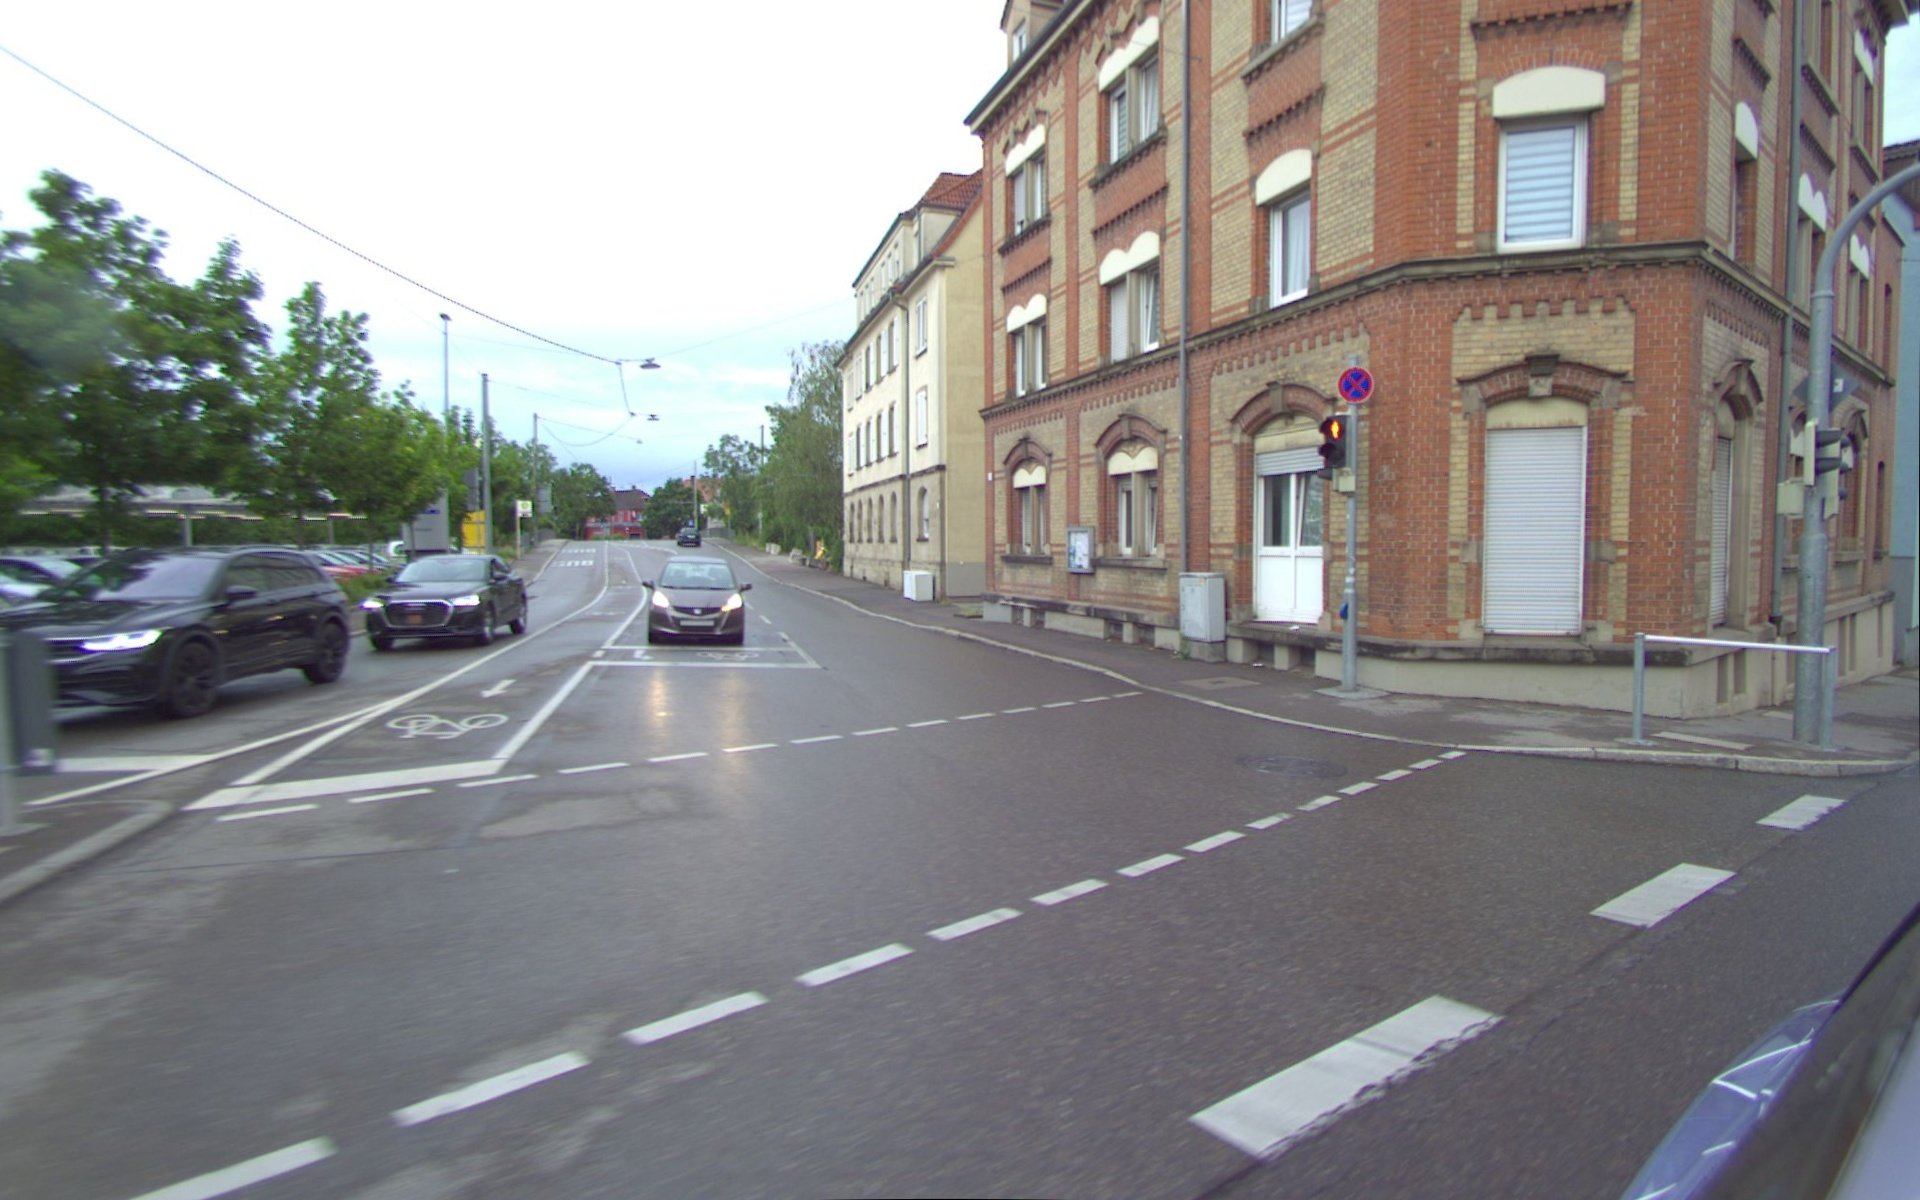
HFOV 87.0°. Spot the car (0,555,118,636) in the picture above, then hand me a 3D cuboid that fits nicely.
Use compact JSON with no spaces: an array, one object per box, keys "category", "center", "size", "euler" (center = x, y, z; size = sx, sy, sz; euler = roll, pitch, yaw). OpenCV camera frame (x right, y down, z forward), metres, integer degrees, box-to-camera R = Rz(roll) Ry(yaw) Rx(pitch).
[{"category":"car","center":[-16.940,-0.116,17.024],"size":[3.916,1.288,1.727],"euler":[1,2,-12]}]

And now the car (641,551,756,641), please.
[{"category":"car","center":[-5.007,-0.151,19.030],"size":[1.805,1.471,4.010],"euler":[1,2,-18]}]

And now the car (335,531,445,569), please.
[{"category":"car","center":[-24.209,-2.130,43.082],"size":[3.733,1.508,1.727],"euler":[1,2,-12]}]

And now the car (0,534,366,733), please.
[{"category":"car","center":[-8.207,0.190,10.643],"size":[1.768,1.683,4.262],"euler":[0,2,-6]}]

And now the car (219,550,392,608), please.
[{"category":"car","center":[-19.170,-0.617,29.805],"size":[3.916,1.615,1.727],"euler":[1,2,-12]}]

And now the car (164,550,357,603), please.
[{"category":"car","center":[-18.684,-0.651,27.217],"size":[3.916,1.323,1.727],"euler":[1,2,-12]}]

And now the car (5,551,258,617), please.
[{"category":"car","center":[-17.922,-0.361,22.090],"size":[3.916,1.323,1.727],"euler":[1,2,-12]}]

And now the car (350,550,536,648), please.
[{"category":"car","center":[-8.952,-0.116,17.924],"size":[1.767,1.523,4.264],"euler":[0,2,-10]}]

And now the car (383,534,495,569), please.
[{"category":"car","center":[-23.828,-2.204,46.405],"size":[4.286,1.508,1.727],"euler":[1,2,-12]}]

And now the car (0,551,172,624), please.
[{"category":"car","center":[-17.564,-0.263,19.076],"size":[3.916,1.300,1.727],"euler":[1,2,-12]}]

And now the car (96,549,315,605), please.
[{"category":"car","center":[-18.216,-0.558,24.622],"size":[3.916,1.265,1.727],"euler":[1,2,-12]}]

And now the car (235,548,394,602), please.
[{"category":"car","center":[-20.444,-0.787,32.190],"size":[3.916,1.615,1.727],"euler":[1,2,-12]}]

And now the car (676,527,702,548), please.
[{"category":"car","center":[-21.999,-5.057,82.063],"size":[1.850,1.638,4.010],"euler":[1,2,-18]}]
